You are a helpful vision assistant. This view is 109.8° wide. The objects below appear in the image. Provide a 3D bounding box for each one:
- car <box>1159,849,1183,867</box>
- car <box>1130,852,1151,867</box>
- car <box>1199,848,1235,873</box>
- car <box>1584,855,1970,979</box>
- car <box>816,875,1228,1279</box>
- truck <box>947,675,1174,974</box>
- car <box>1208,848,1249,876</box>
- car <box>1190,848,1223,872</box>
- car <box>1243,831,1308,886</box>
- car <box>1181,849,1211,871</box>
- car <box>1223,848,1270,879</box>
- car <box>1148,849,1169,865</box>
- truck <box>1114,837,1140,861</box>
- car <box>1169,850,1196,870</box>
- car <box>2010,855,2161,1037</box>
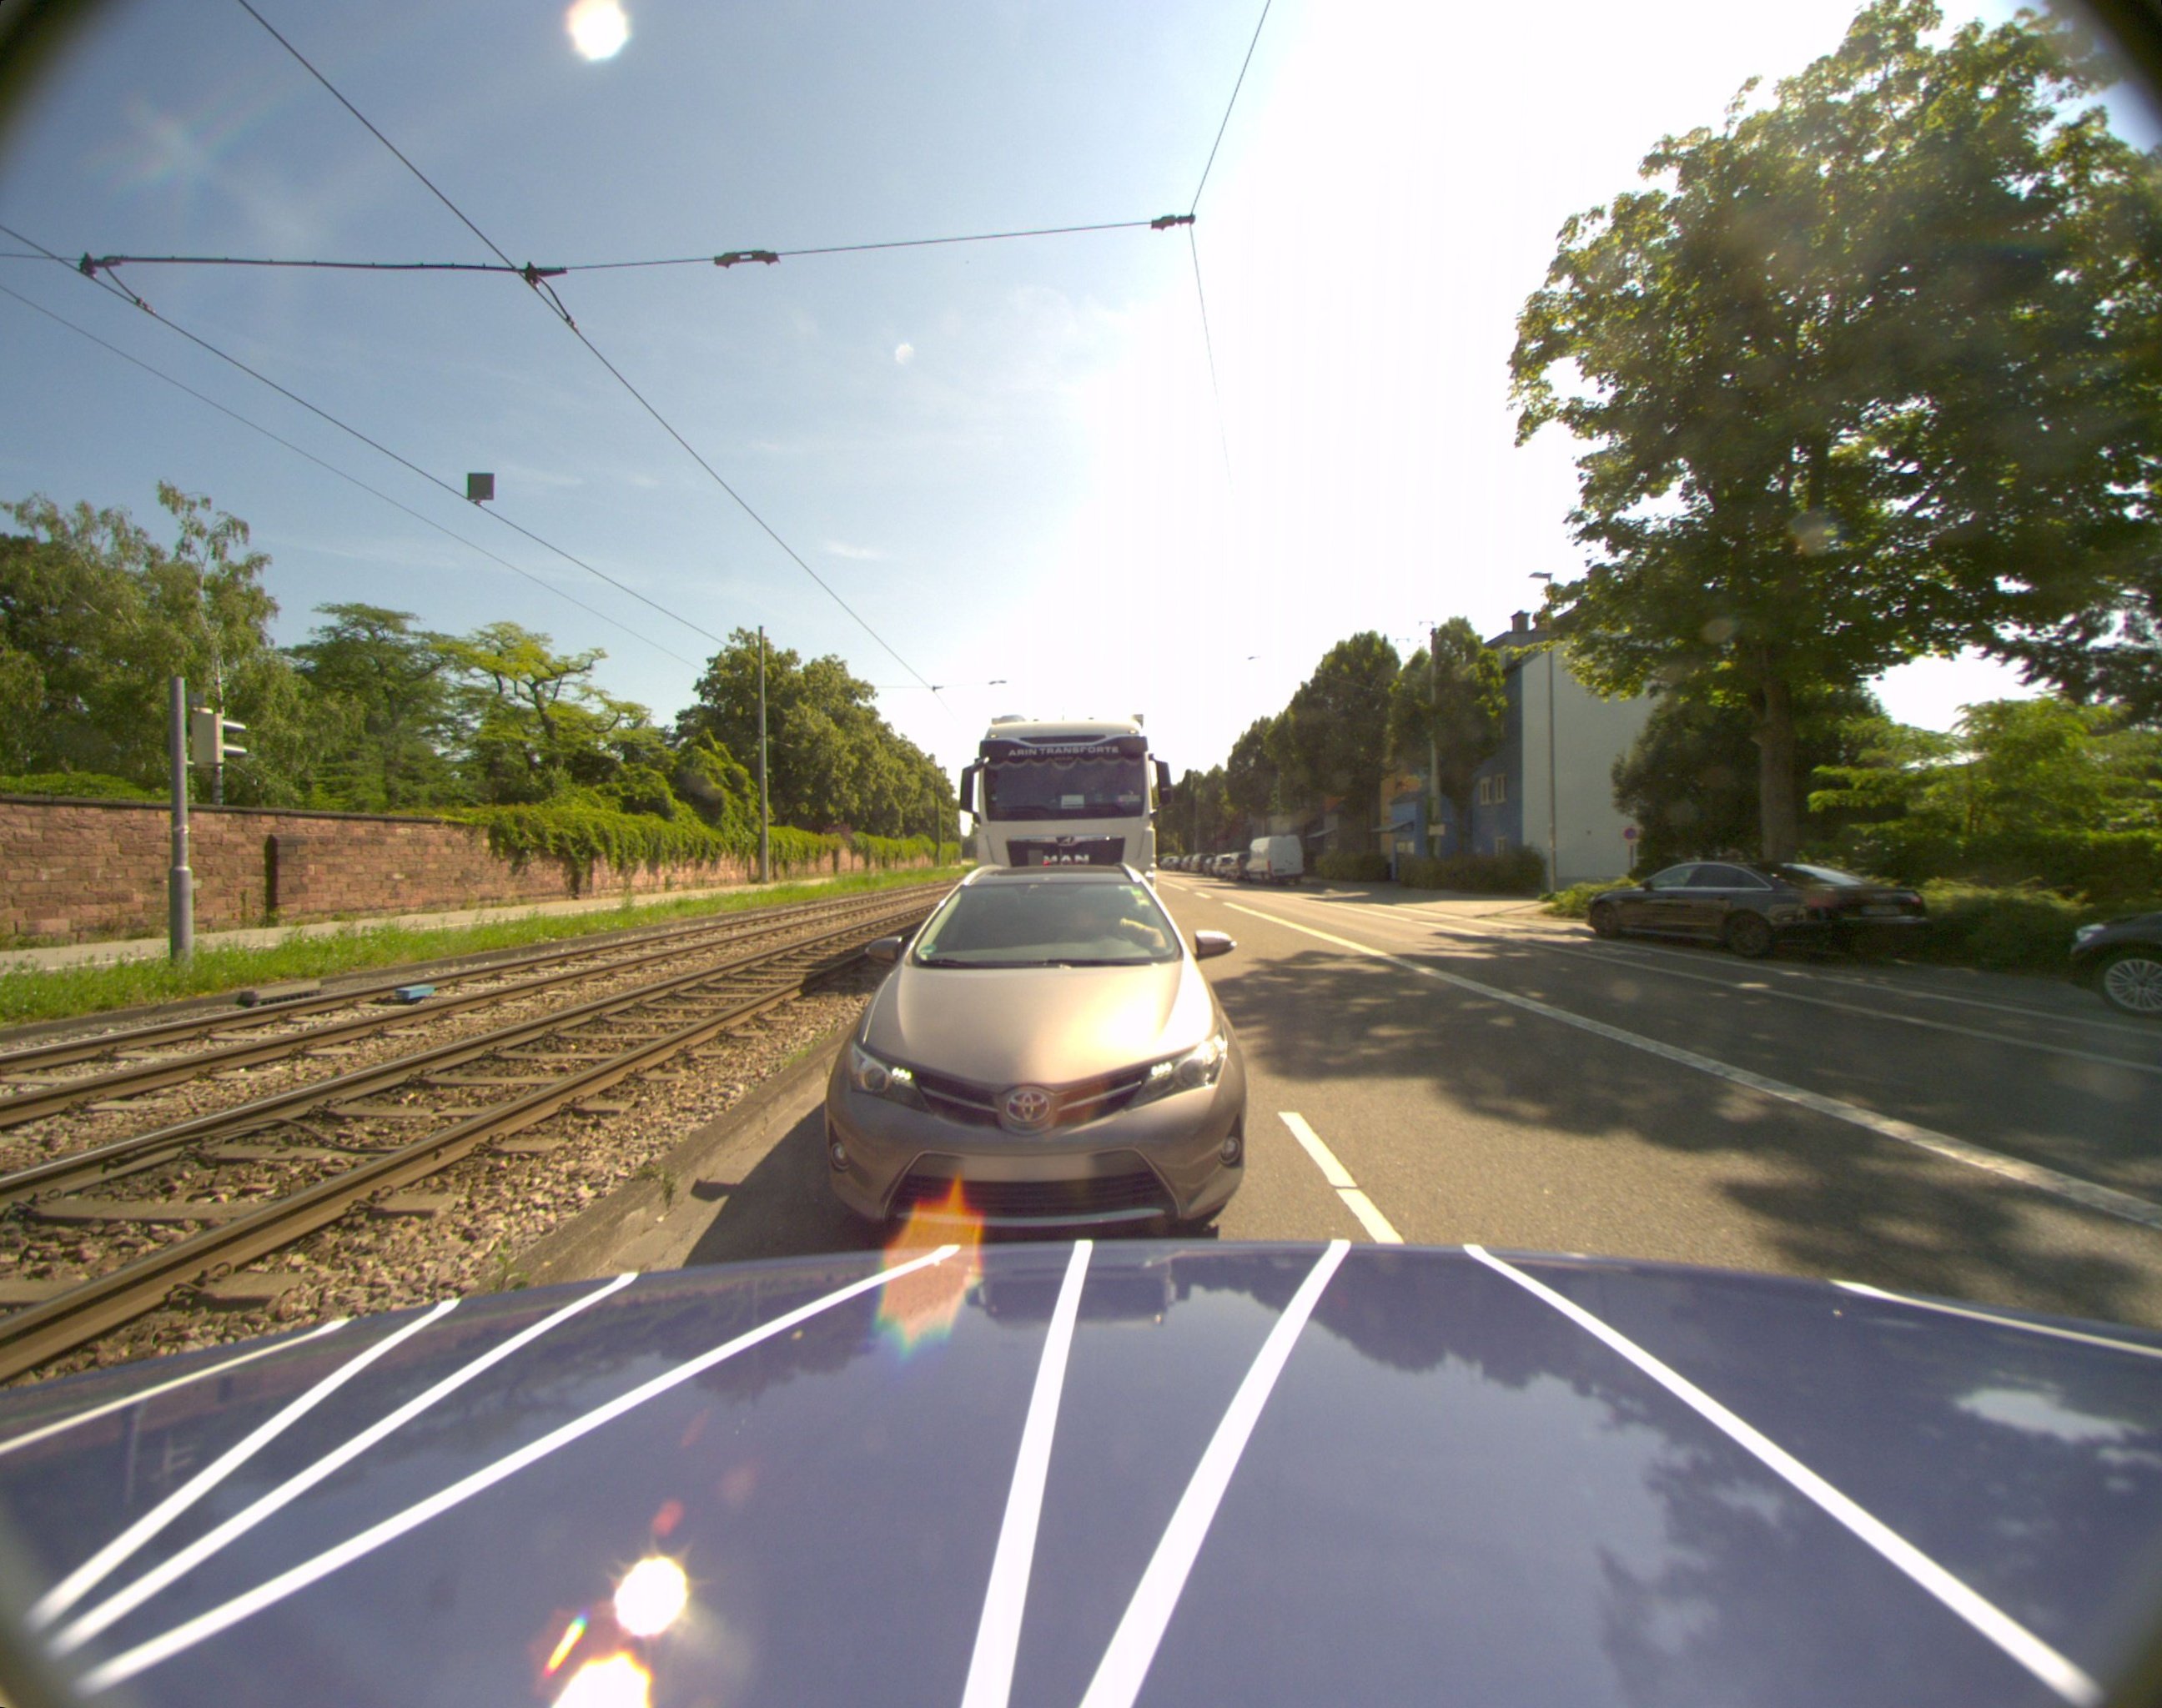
[{"bbox_3d":[10.174,0.482,85.913,1.998,1.795,4.769,-6,0,0],"label":"car"},{"bbox_3d":[8.272,0.795,105.572,1.999,1.795,5.111,-6,0,-4],"label":"car"},{"bbox_3d":[11.220,0.535,62.865,1.998,1.795,4.256,-6,0,0],"label":"car"},{"bbox_3d":[10.564,0.822,12.163,1.868,1.562,4.621,-1,0,-2],"label":"car"},{"bbox_3d":[-0.201,0.909,4.906,1.573,1.422,4.000,0,0,1],"label":"car"},{"bbox_3d":[-0.169,-0.399,17.263,2.935,3.856,14.912,0,0,1],"label":"truck"},{"bbox_3d":[11.080,0.575,57.382,1.998,1.795,4.769,-6,0,0],"label":"car"},{"bbox_3d":[11.119,0.519,67.677,1.998,1.795,4.769,-6,0,0],"label":"car"},{"bbox_3d":[10.911,0.248,43.153,1.998,2.678,6.214,-6,0,2],"label":"car"},{"bbox_3d":[11.019,0.556,73.381,1.998,1.795,4.769,-6,0,0],"label":"car"},{"bbox_3d":[11.138,0.633,51.450,1.998,1.795,4.769,-6,0,0],"label":"car"},{"bbox_3d":[9.857,0.378,96.872,1.998,1.795,4.769,-6,0,0],"label":"car"},{"bbox_3d":[6.978,-0.677,116.109,2.704,3.263,6.724,-6,0,-5],"label":"truck"},{"bbox_3d":[10.568,0.631,79.170,1.998,1.795,4.769,-6,0,0],"label":"car"},{"bbox_3d":[10.581,0.822,5.573,1.868,1.562,4.621,-2,0,0],"label":"car"}]
